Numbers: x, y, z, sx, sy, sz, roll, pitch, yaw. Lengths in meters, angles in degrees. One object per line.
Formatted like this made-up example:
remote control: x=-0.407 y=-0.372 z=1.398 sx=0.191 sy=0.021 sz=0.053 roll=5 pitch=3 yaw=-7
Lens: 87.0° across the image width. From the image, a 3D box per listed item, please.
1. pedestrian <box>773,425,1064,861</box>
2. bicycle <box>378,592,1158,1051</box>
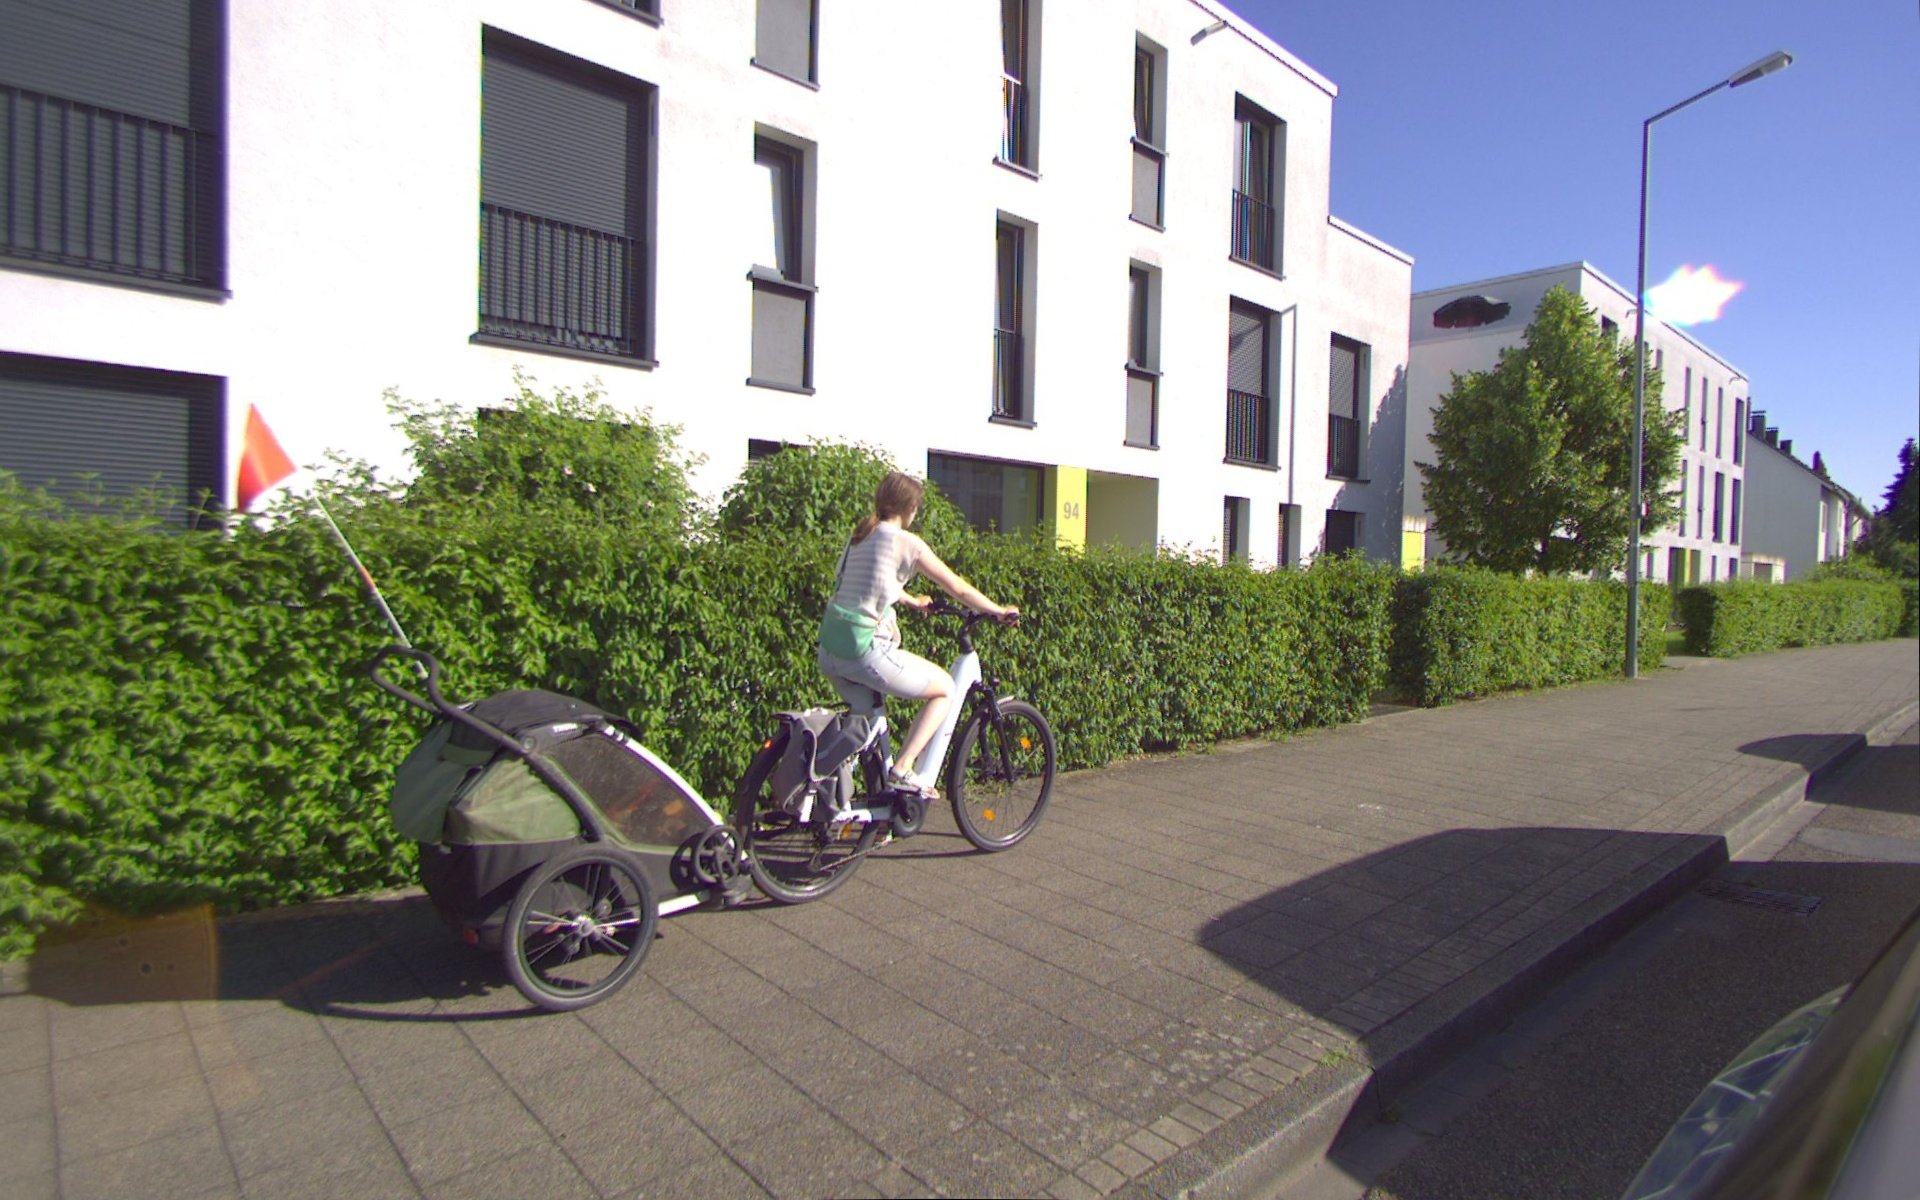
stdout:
pedestrian: x=-0.190 y=0.140 z=4.361 sx=0.840 sy=1.613 sz=0.912 roll=0 pitch=2 yaw=-41
bicycle: x=-0.515 y=0.585 z=4.097 sx=3.072 sy=1.187 sz=0.930 roll=-1 pitch=3 yaw=-43
